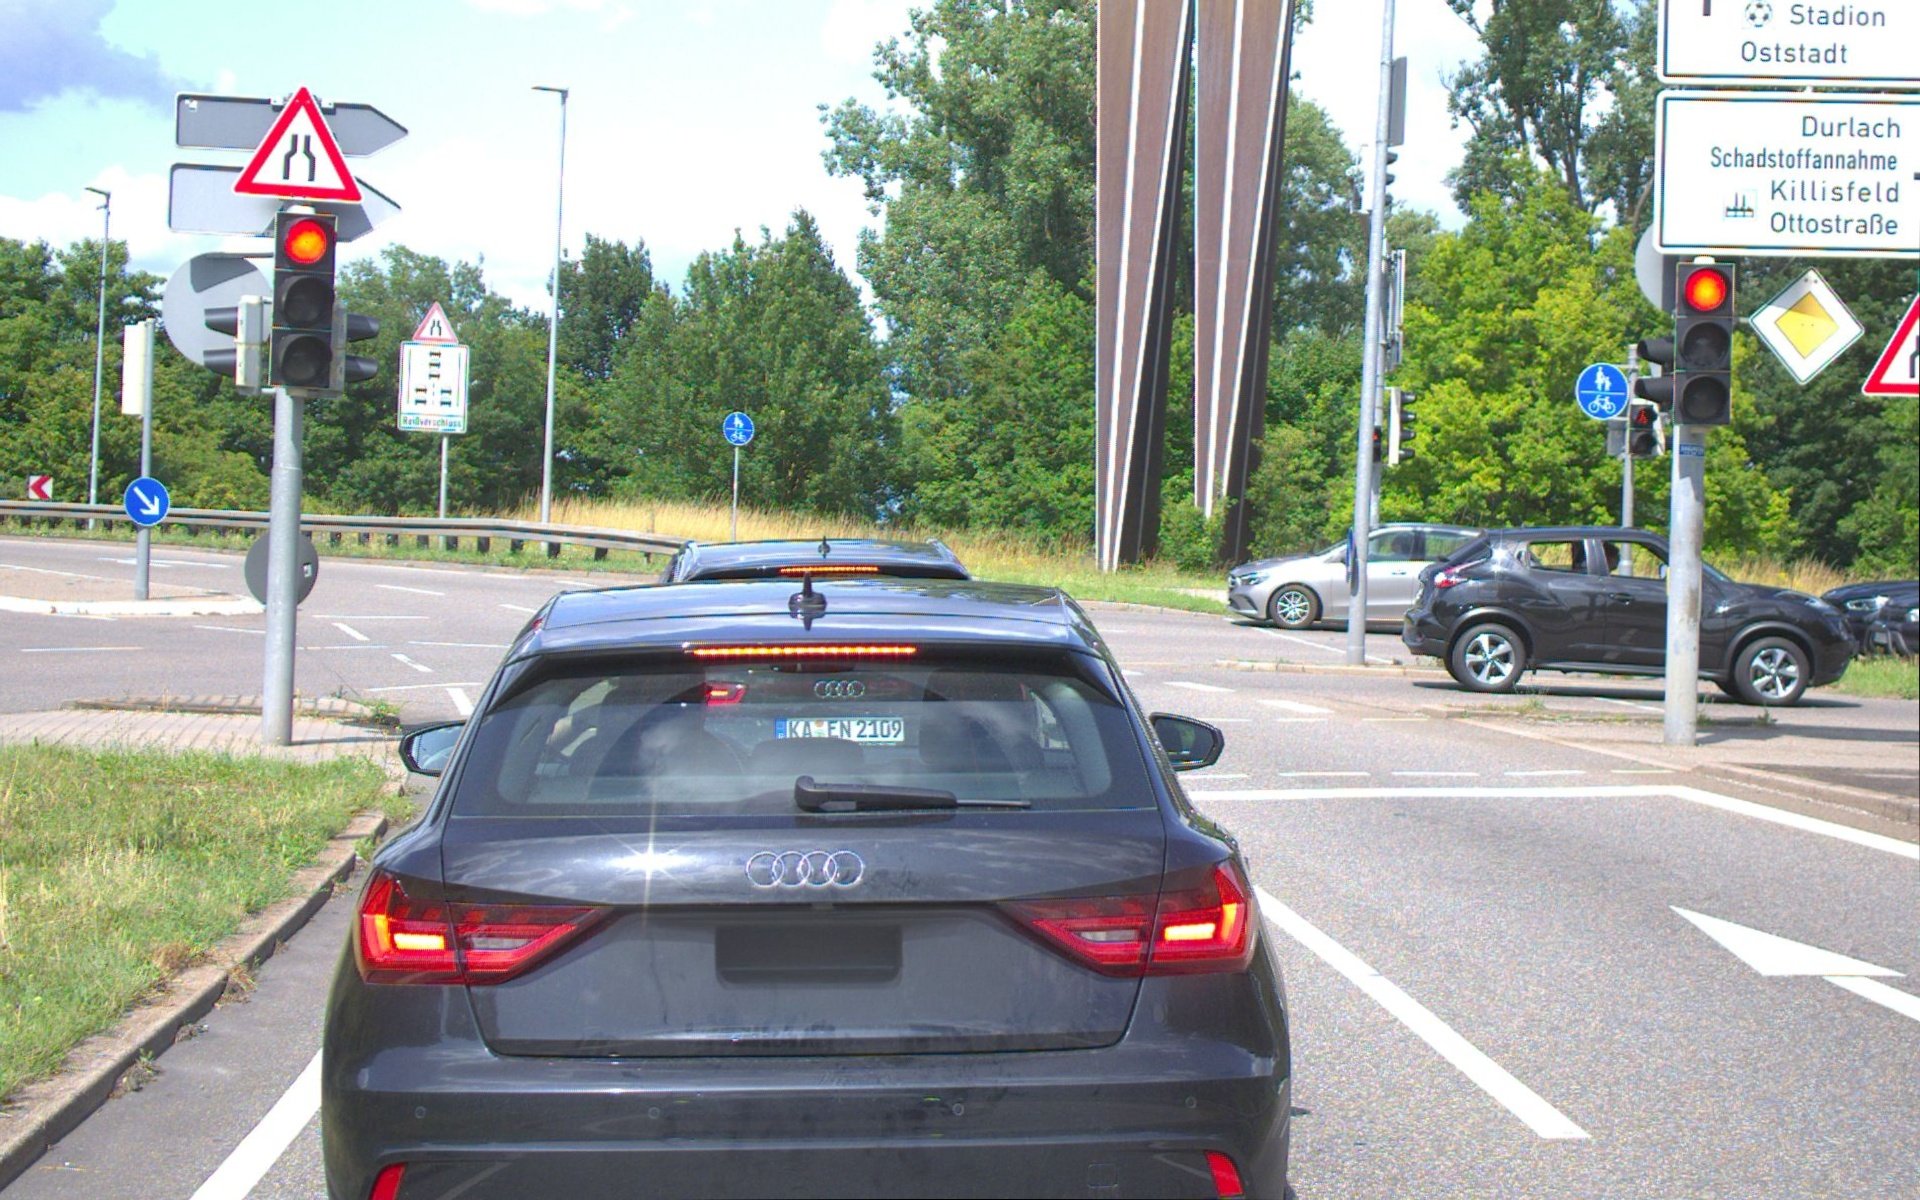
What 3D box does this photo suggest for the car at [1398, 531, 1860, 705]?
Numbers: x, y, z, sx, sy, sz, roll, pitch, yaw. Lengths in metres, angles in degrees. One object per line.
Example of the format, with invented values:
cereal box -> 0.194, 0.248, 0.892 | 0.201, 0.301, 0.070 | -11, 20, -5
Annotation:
car -> 6.096, 0.140, 31.749 | 3.958, 1.413, 1.953 | 2, 1, 5

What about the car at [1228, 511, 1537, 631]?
car -> 5.816, -0.413, 47.752 | 4.106, 1.491, 2.000 | 2, 1, 4

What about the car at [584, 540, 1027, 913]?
car -> -0.757, 0.460, 15.354 | 1.726, 1.418, 3.845 | 0, 1, -5

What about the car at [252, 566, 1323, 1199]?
car -> -0.300, 0.657, 7.555 | 1.726, 1.399, 4.000 | 0, 1, -1

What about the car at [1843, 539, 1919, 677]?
car -> 12.639, 0.133, 39.898 | 4.268, 1.539, 1.737 | 2, 1, -1

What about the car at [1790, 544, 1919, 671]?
car -> 13.229, 0.132, 43.751 | 4.847, 1.539, 1.737 | 2, 1, -1
